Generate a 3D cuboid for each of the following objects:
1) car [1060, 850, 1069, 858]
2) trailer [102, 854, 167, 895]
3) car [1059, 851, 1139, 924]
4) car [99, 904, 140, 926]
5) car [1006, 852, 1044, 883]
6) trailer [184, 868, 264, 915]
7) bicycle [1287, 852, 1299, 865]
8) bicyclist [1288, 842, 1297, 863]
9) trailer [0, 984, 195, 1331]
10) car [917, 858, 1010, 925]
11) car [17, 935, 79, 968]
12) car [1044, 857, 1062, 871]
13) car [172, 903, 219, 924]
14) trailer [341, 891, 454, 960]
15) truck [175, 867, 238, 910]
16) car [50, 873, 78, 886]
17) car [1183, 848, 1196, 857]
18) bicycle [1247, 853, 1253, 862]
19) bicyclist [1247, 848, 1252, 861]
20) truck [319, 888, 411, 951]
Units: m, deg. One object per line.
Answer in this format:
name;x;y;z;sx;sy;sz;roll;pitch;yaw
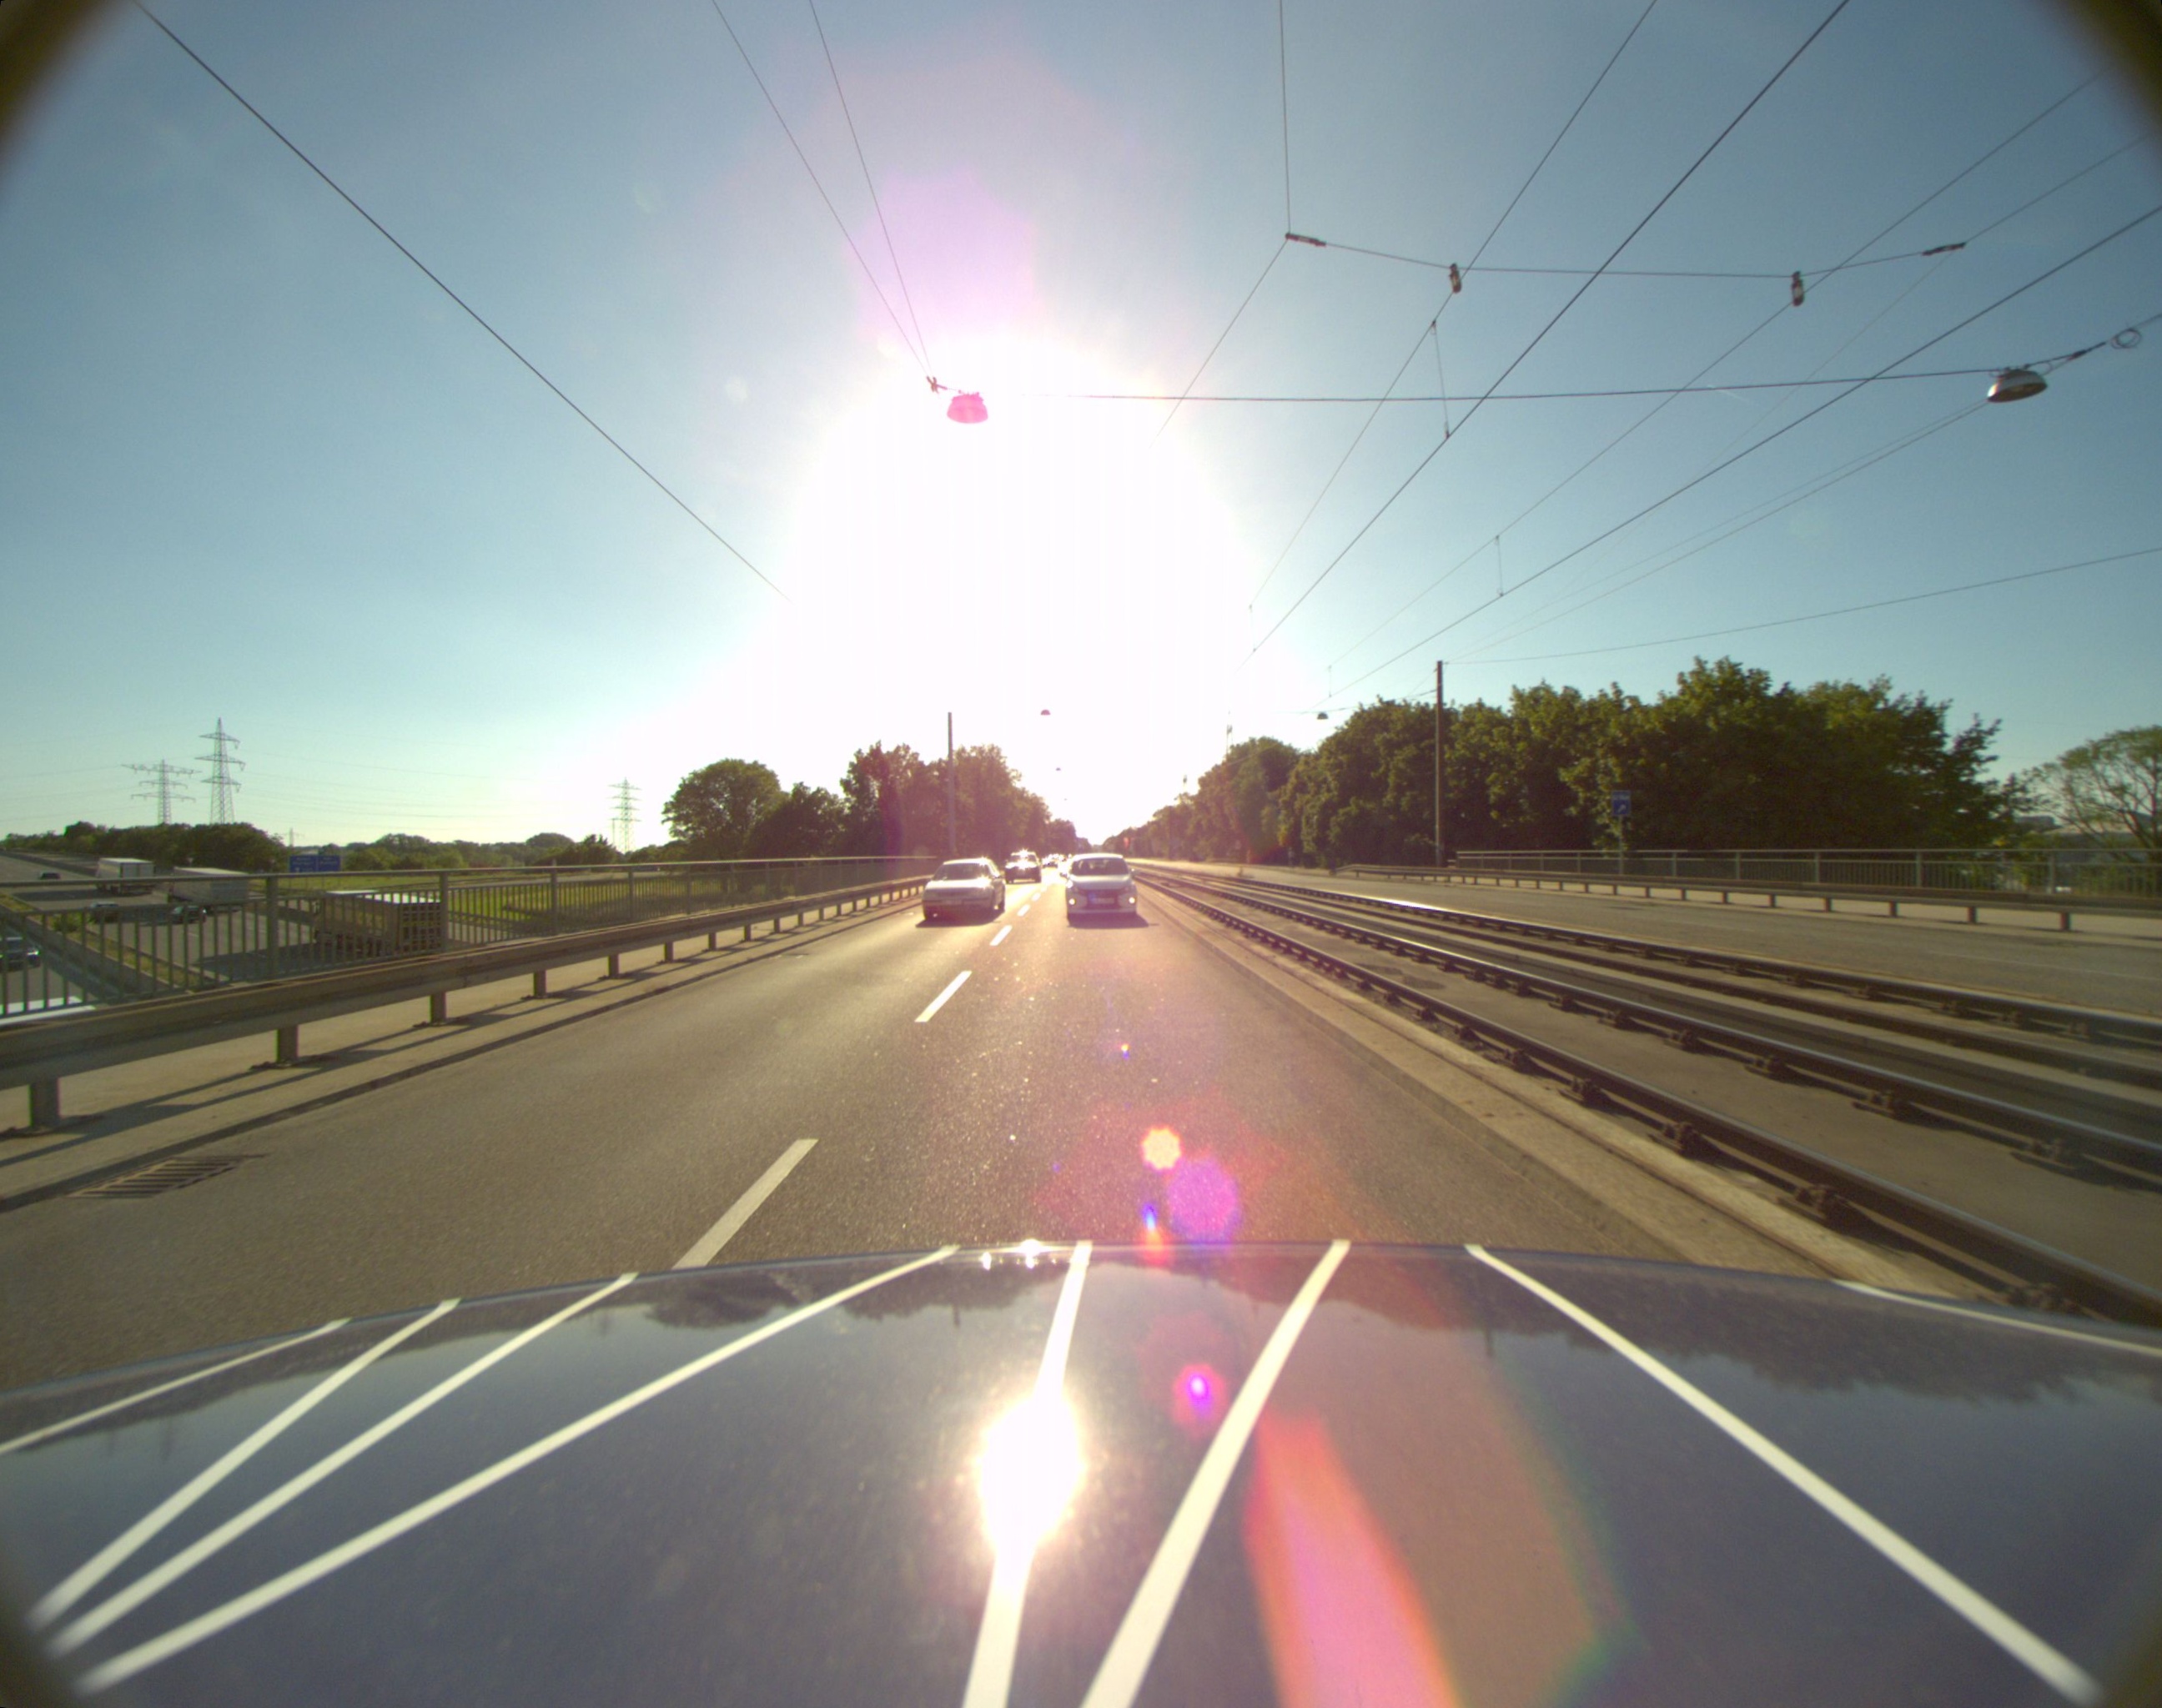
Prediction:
car;-3.527;0.044;163.758;1.904;1.512;3.956;-2;1;0
trailer;-116.889;2.391;93.784;13.078;4.436;3.060;1;4;31
car;0.437;0.739;18.750;1.709;1.503;3.862;-2;1;1
car;-85.700;5.402;67.718;4.053;1.507;1.891;1;2;33
car;-3.016;0.713;41.795;1.709;1.512;3.843;-2;1;1
trailer;-87.849;3.763;77.811;11.519;4.249;3.315;1;-1;31
bicycle;18.311;0.400;65.681;0.505;1.046;1.727;-2;1;0
bicyclist;18.293;-0.146;65.698;0.498;1.741;0.833;-2;2;0
trailer;-22.661;5.724;16.321;11.948;4.134;2.562;1;4;31
car;-2.947;0.891;19.909;1.693;1.409;4.134;-2;1;1
car;-62.785;5.877;46.163;4.167;1.406;1.829;1;2;32
car;-3.308;1.142;89.694;1.904;1.512;3.956;-2;1;1
car;-79.492;5.350;68.195;3.949;1.507;1.891;1;2;28
trailer;-47.440;4.800;52.666;9.346;3.835;3.060;1;4;31
truck;-93.572;3.628;81.285;6.360;4.253;3.286;1;-1;31
car;-140.487;3.507;104.961;3.948;1.507;1.704;3;3;28
car;20.553;-0.229;143.914;1.977;1.512;3.956;-2;1;1
bicycle;19.279;0.445;86.900;0.425;0.958;1.913;-2;1;6
bicyclist;19.247;0.076;86.781;0.422;1.421;0.754;-2;2;6
truck;-52.598;4.685;55.775;6.587;3.861;3.060;1;4;31
